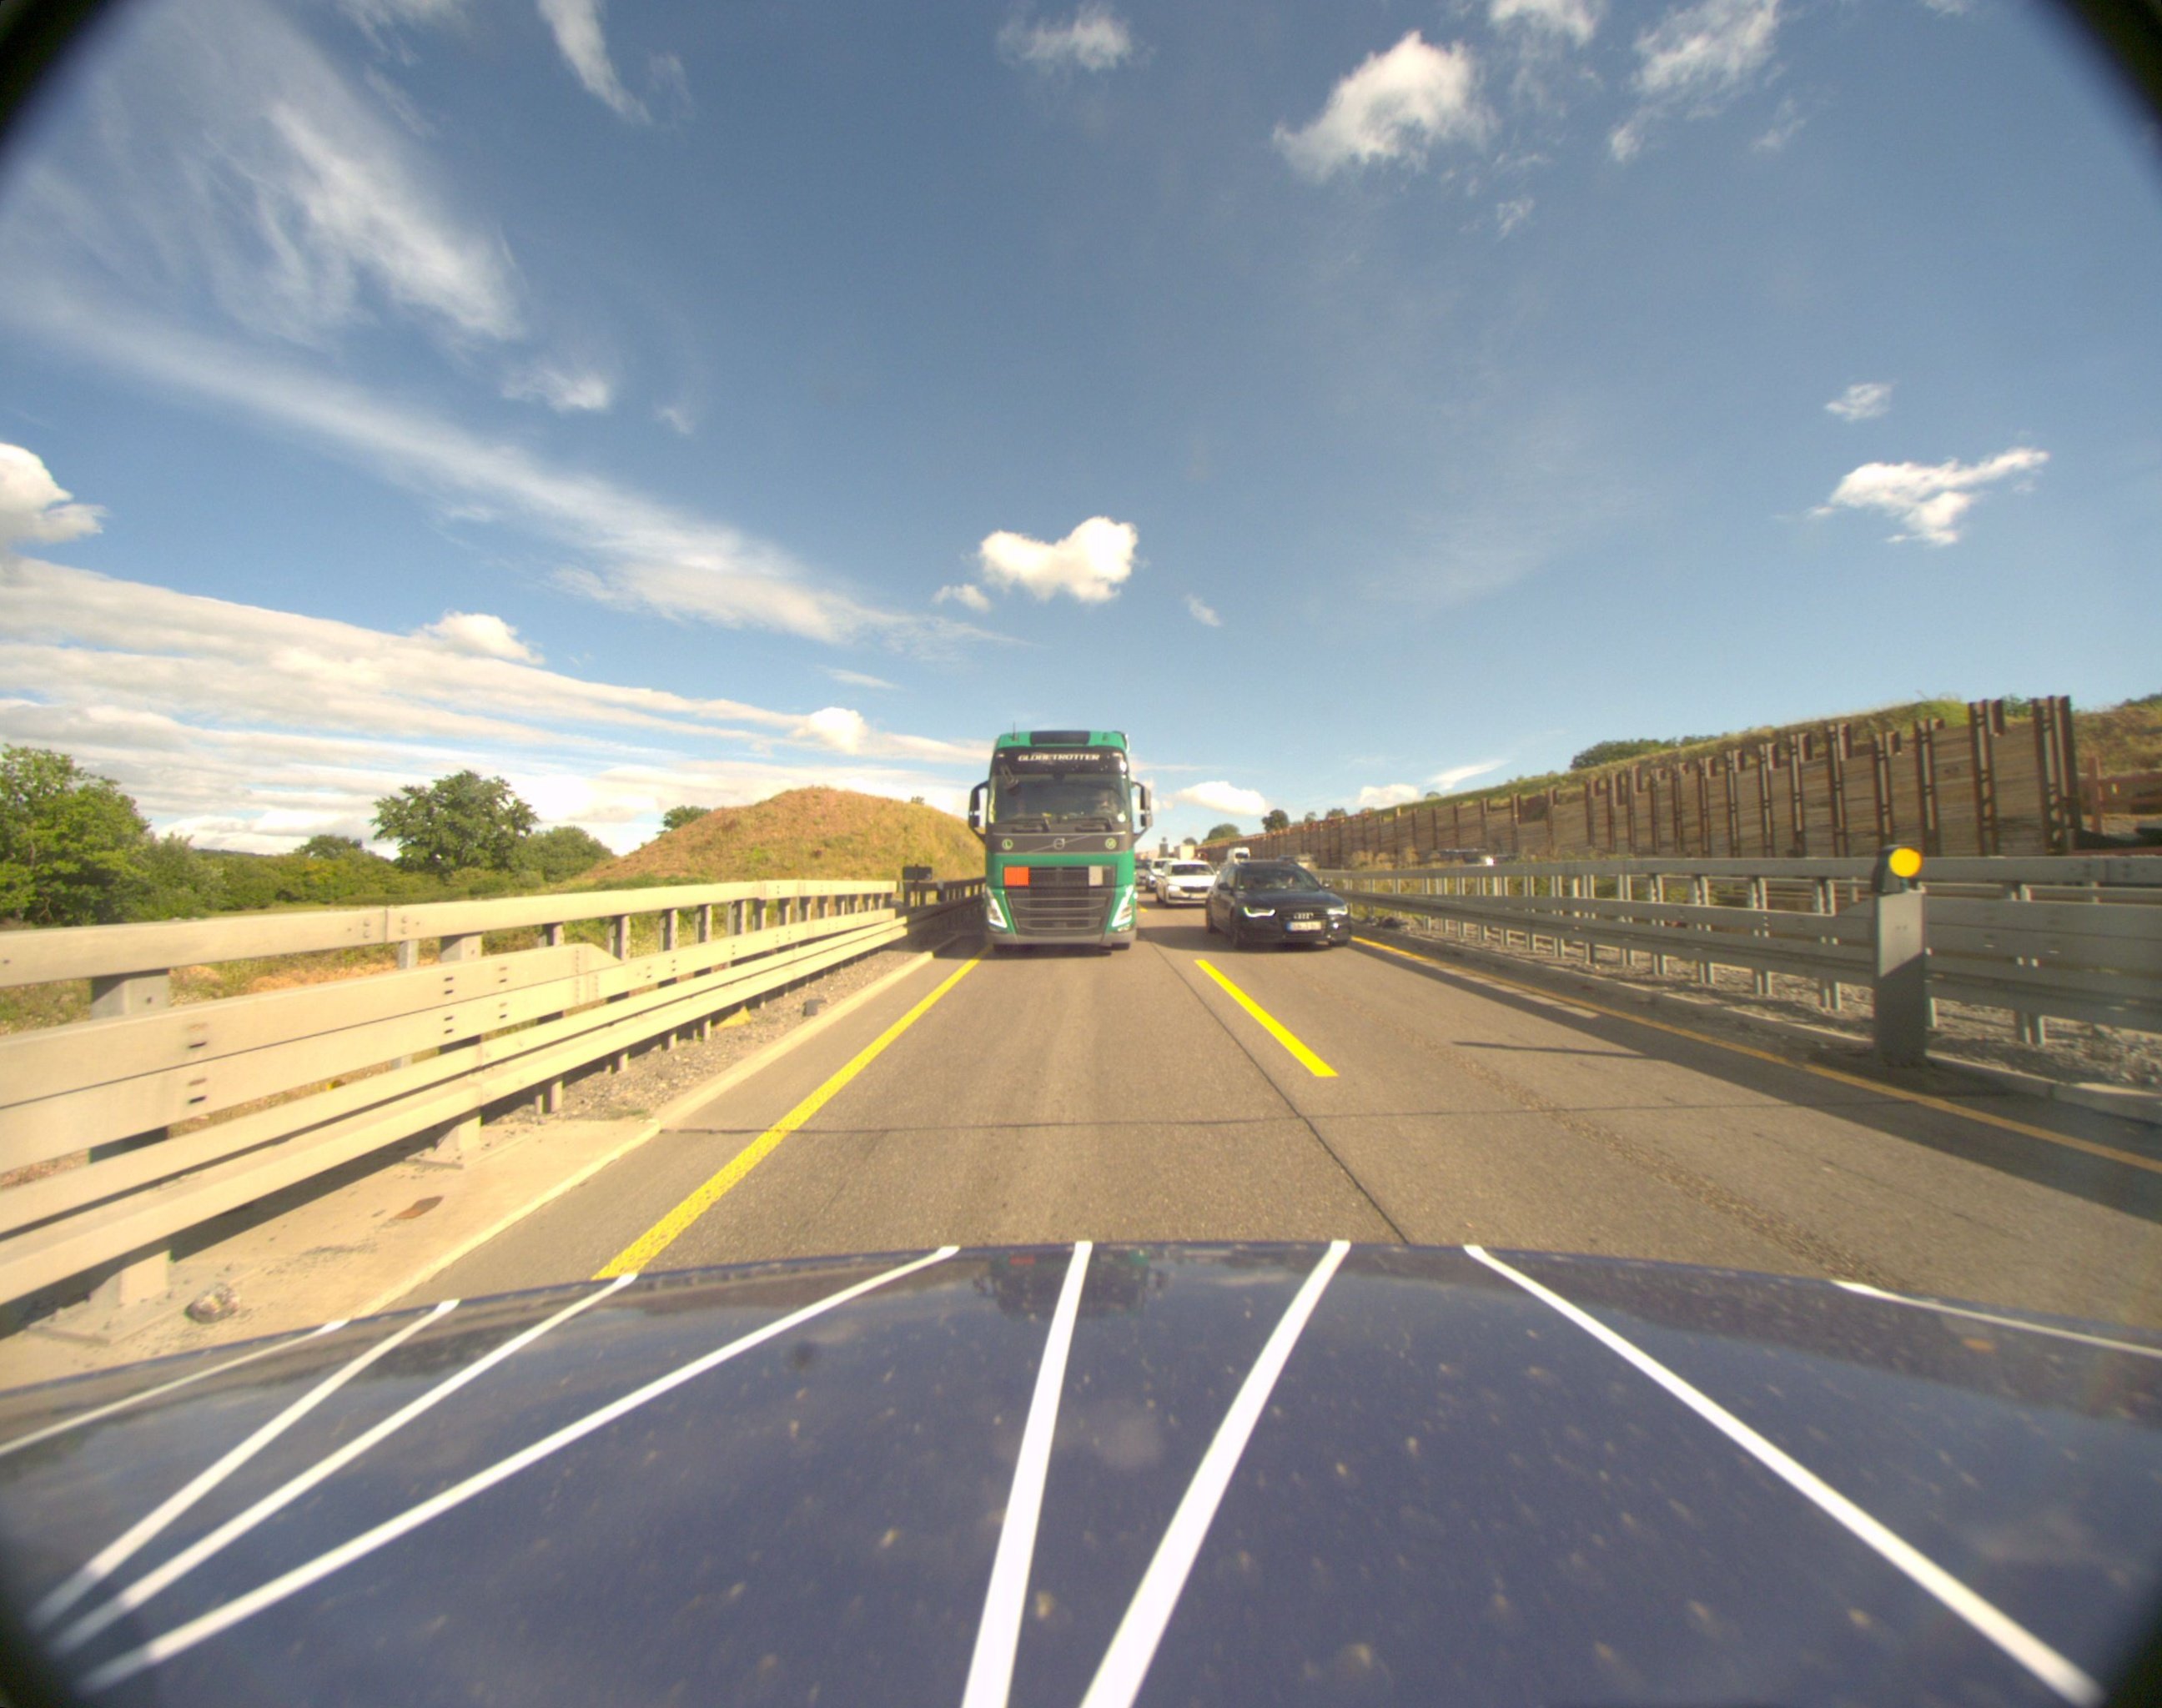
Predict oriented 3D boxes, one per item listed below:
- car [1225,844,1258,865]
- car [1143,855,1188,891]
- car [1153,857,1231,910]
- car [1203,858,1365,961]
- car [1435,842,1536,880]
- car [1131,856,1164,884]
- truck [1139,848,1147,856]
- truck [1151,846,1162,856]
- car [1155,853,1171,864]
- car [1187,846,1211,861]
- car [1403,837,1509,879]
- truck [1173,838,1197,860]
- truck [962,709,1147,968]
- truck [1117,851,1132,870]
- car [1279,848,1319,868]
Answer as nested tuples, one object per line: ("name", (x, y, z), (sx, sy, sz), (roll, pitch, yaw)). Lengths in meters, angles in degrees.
("car", (18.814, 0.042, 89.575), (2.572, 2.329, 6.405), (-2, 1, 1))
("car", (3.934, 0.846, 35.877), (1.659, 1.510, 4.000), (-2, 1, 1))
("car", (3.529, 0.894, 25.010), (1.949, 1.422, 4.407), (-2, 1, 1))
("car", (3.471, 0.868, 13.871), (1.948, 1.422, 4.505), (-2, 1, 3))
("car", (17.282, 0.234, 32.740), (1.949, 1.422, 4.407), (-3, 1, 0))
("car", (3.945, 0.941, 45.781), (1.659, 1.510, 4.000), (-2, 1, 1))
("truck", (19.794, -0.742, 241.118), (1.998, 2.503, 6.553), (-2, 1, 1))
("truck", (21.019, -0.819, 212.008), (2.383, 2.503, 6.553), (-2, 1, 1))
("car", (19.482, 1.013, 180.868), (2.887, 2.329, 6.405), (-2, 1, 1))
("car", (18.727, -0.118, 120.829), (2.887, 2.329, 6.405), (-2, 1, 1))
("car", (14.714, 0.107, 30.118), (1.949, 1.422, 4.407), (-3, 1, 0))
("truck", (19.121, -0.879, 140.292), (3.178, 3.843, 8.234), (-2, 1, 1))
("truck", (-0.318, -0.279, 16.685), (2.663, 3.825, 10.316), (-2, 1, 1))
("truck", (9.357, 1.277, 164.663), (2.663, 3.825, 10.316), (-2, 1, 1))
("car", (17.684, 0.297, 61.818), (1.949, 1.422, 4.407), (-3, 1, 0))
